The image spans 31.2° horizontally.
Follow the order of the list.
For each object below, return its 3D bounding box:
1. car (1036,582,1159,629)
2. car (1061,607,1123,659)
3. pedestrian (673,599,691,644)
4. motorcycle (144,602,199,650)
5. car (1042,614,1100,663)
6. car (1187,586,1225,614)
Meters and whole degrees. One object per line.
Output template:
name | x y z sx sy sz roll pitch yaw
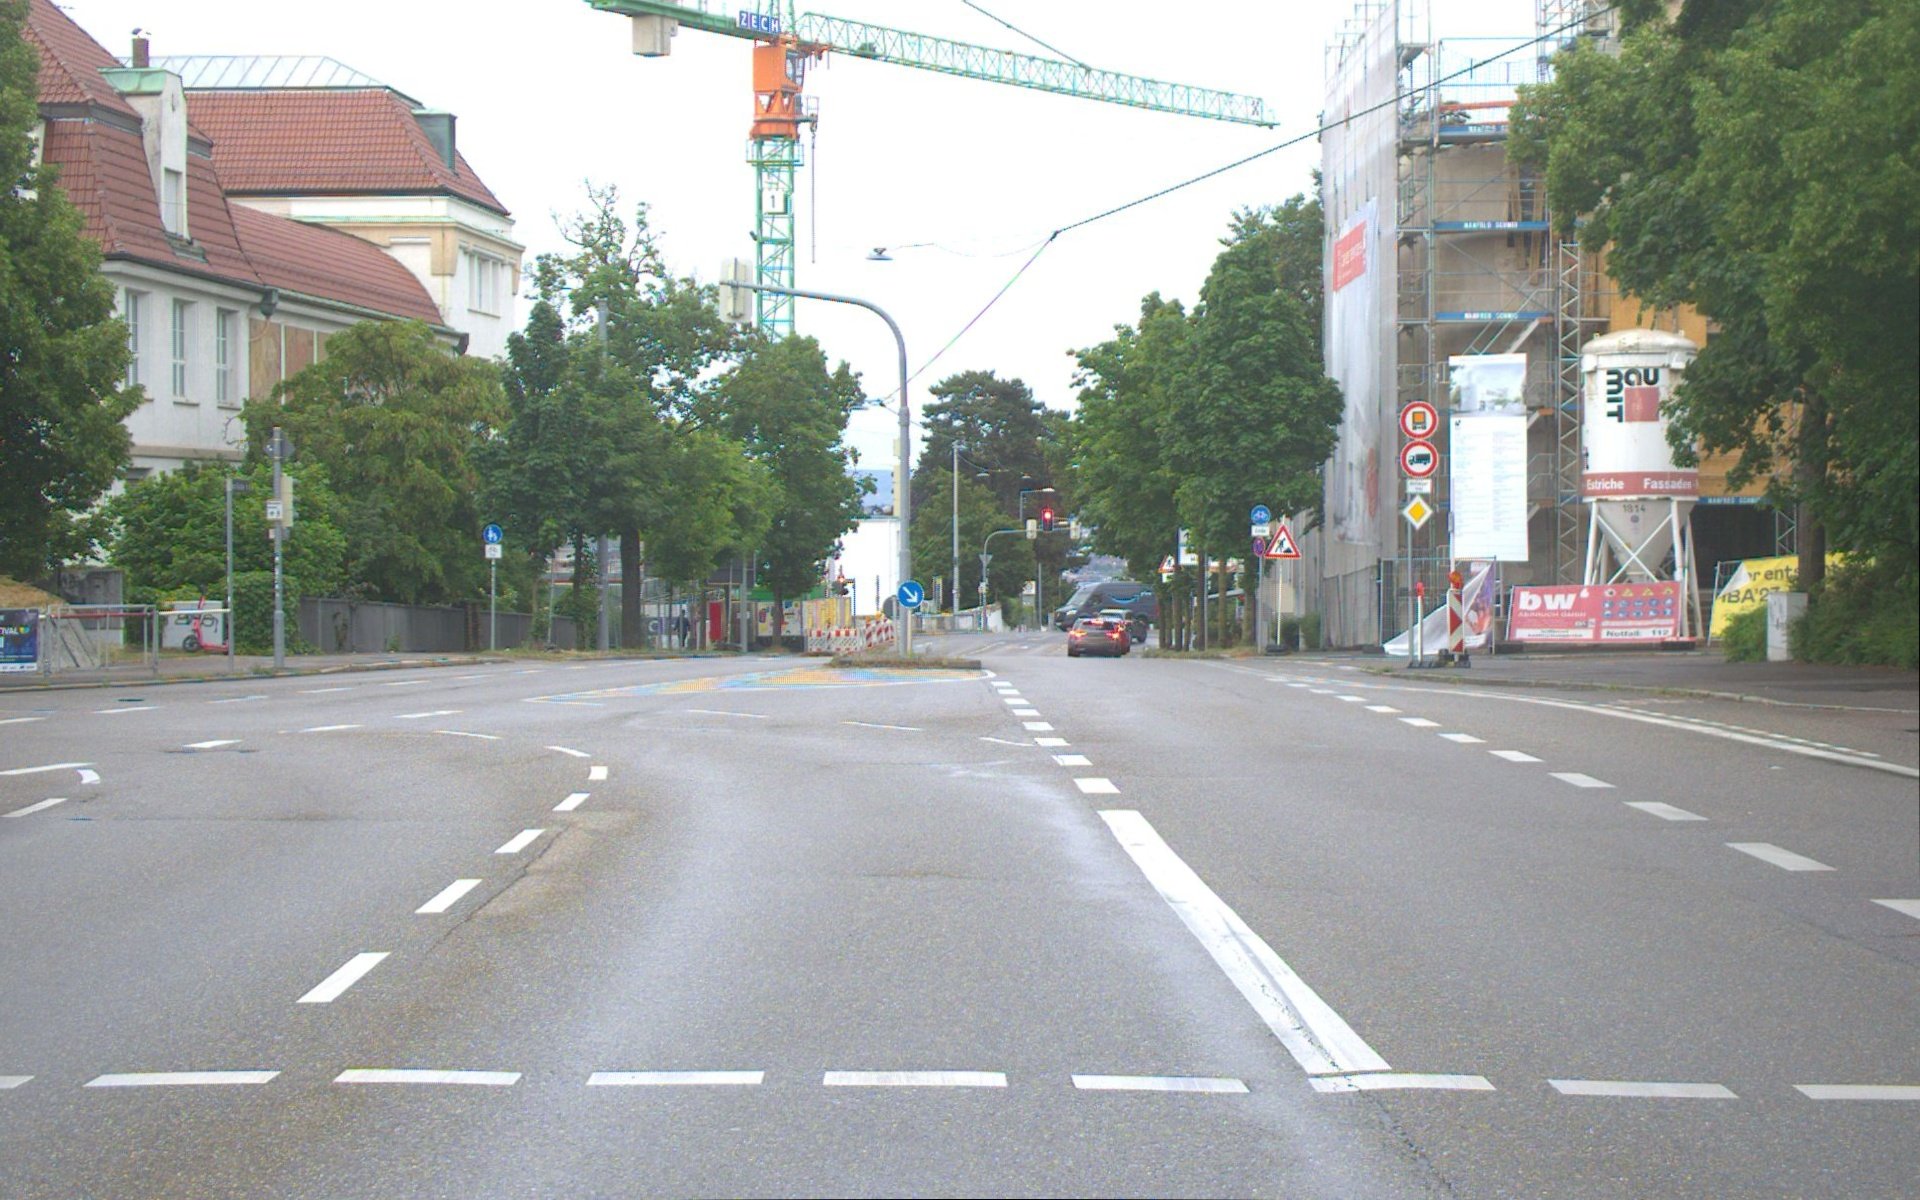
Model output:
car | 7.316 0.301 182.726 6.169 2.394 2.857 0 1 -39
car | 4.782 1.185 124.844 1.993 1.744 4.000 -1 1 -1
pedestrian | -10.400 0.802 128.767 0.494 1.640 0.533 1 0 16
motorcycle | -14.894 0.486 64.960 0.849 0.874 0.877 1 0 -1
car | 4.226 1.452 131.488 1.993 1.744 4.000 -1 1 -1
car | 15.706 -0.010 219.325 1.994 1.744 3.998 -1 1 11
